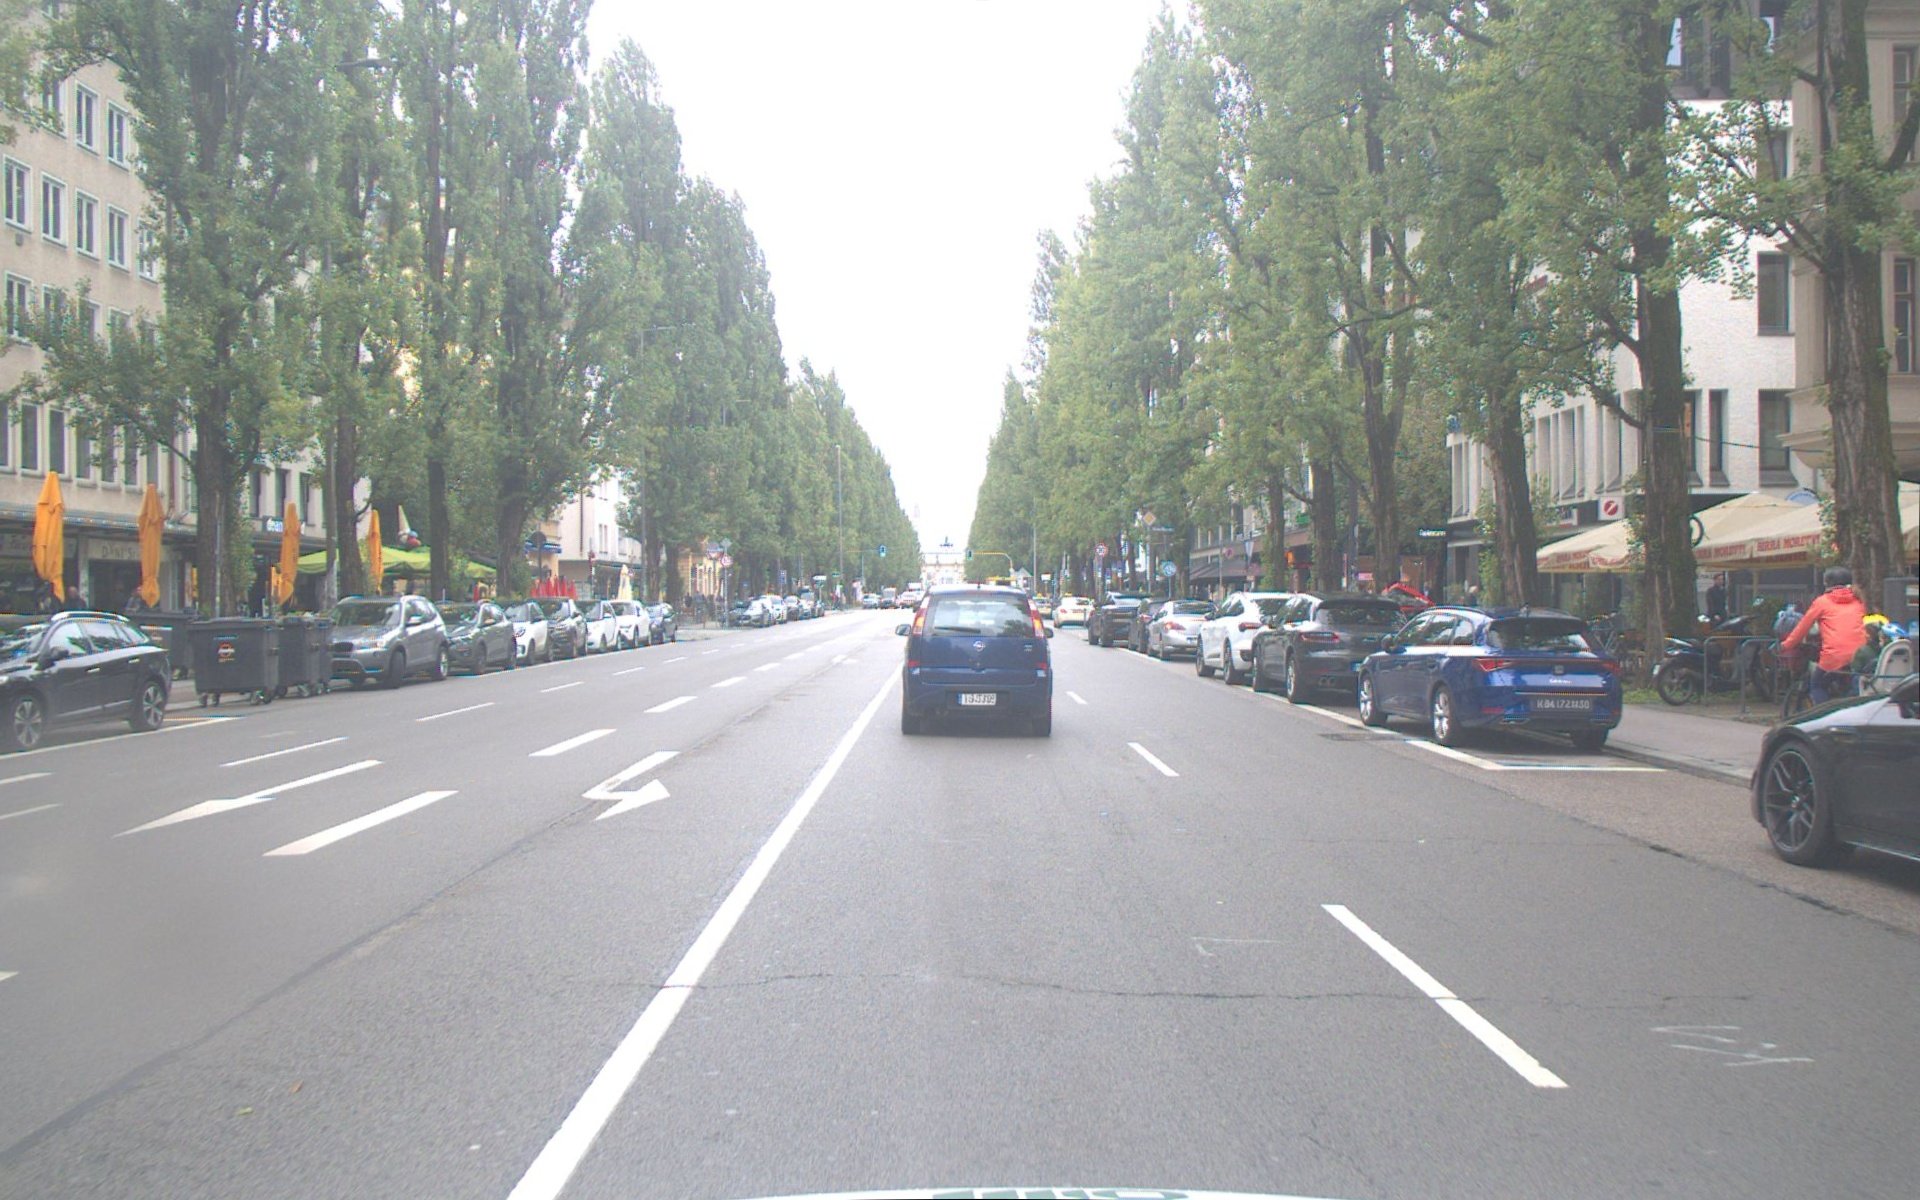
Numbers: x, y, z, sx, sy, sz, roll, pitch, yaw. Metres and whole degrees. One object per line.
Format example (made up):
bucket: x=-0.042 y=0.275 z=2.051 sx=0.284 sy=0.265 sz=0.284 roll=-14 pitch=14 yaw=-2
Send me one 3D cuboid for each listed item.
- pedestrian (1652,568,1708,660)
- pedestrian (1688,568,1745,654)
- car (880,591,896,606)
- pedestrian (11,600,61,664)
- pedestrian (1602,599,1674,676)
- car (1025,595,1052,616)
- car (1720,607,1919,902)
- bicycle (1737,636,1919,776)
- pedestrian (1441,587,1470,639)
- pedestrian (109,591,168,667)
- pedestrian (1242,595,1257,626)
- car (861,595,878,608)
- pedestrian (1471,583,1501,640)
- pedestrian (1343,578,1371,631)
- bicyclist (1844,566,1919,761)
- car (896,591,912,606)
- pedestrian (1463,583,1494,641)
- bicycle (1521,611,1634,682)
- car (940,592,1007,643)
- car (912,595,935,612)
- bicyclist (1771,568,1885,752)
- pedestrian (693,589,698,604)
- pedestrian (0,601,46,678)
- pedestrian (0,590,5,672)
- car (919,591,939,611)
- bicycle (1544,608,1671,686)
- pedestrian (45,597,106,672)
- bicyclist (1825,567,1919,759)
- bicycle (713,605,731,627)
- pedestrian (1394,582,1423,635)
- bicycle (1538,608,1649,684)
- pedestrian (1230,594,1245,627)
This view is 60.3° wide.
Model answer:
pedestrian: x=14.614 y=0.280 z=33.604 sx=0.714 sy=1.834 sz=0.931 roll=-1 pitch=0 yaw=0
pedestrian: x=15.363 y=0.219 z=33.591 sx=0.714 sy=1.706 sz=0.931 roll=-1 pitch=0 yaw=0
car: x=-8.629 y=-0.150 z=199.075 sx=1.798 sy=1.769 sz=3.778 roll=-1 pitch=0 yaw=-1
pedestrian: x=-19.923 y=0.683 z=35.679 sx=0.612 sy=1.348 sz=0.827 roll=-1 pitch=0 yaw=0
pedestrian: x=11.654 y=0.640 z=28.455 sx=0.909 sy=1.289 sz=0.731 roll=-1 pitch=0 yaw=-2
car: x=5.321 y=0.363 z=112.246 sx=1.635 sy=1.376 sz=4.104 roll=-1 pitch=0 yaw=0
car: x=5.760 y=0.783 z=8.005 sx=1.840 sy=1.457 sz=4.803 roll=-1 pitch=0 yaw=-2
bicycle: x=7.874 y=0.909 z=14.919 sx=0.614 sy=1.106 sz=2.263 roll=-1 pitch=0 yaw=-1
pedestrian: x=16.145 y=0.419 z=53.913 sx=0.720 sy=1.655 sz=0.766 roll=1 pitch=0 yaw=1
pedestrian: x=-19.517 y=0.680 z=39.314 sx=0.834 sy=1.775 sz=1.148 roll=0 pitch=0 yaw=0
pedestrian: x=14.561 y=0.544 z=83.150 sx=0.627 sy=1.553 sz=0.484 roll=-1 pitch=0 yaw=-1
car: x=-11.216 y=0.221 z=205.667 sx=1.922 sy=1.576 sz=3.778 roll=-1 pitch=0 yaw=-1
pedestrian: x=15.518 y=0.326 z=48.814 sx=0.640 sy=1.655 sz=0.704 roll=-1 pitch=0 yaw=-3
pedestrian: x=13.923 y=0.143 z=58.032 sx=0.776 sy=1.843 sz=0.682 roll=-1 pitch=0 yaw=-3
bicyclist: x=7.888 y=0.529 z=13.982 sx=0.609 sy=1.616 sz=0.391 roll=-1 pitch=0 yaw=-1
car: x=-6.477 y=-0.144 z=191.549 sx=1.798 sy=1.706 sz=3.778 roll=-1 pitch=0 yaw=-1
pedestrian: x=14.928 y=0.340 z=47.608 sx=0.640 sy=1.655 sz=0.704 roll=-1 pitch=0 yaw=-3
bicycle: x=10.282 y=0.767 z=27.550 sx=1.794 sy=1.159 sz=0.370 roll=-1 pitch=0 yaw=-7
car: x=0.387 y=0.518 z=51.818 sx=1.953 sy=1.523 sz=3.999 roll=-1 pitch=0 yaw=-1
car: x=-3.210 y=0.316 z=145.380 sx=1.922 sy=1.424 sz=3.778 roll=-1 pitch=0 yaw=-1
bicyclist: x=7.866 y=0.532 z=15.010 sx=0.609 sy=1.616 sz=0.753 roll=-1 pitch=0 yaw=-1
pedestrian: x=-19.236 y=-0.232 z=120.187 sx=0.283 sy=1.109 sz=0.258 roll=-1 pitch=0 yaw=5
pedestrian: x=-22.149 y=0.920 z=38.757 sx=0.834 sy=1.775 sz=1.148 roll=0 pitch=0 yaw=0
pedestrian: x=-20.780 y=0.668 z=35.011 sx=0.612 sy=1.752 sz=0.827 roll=-1 pitch=0 yaw=0
car: x=-2.878 y=0.088 z=154.579 sx=1.798 sy=1.792 sz=3.778 roll=-1 pitch=0 yaw=-1
bicycle: x=10.396 y=0.749 z=26.584 sx=1.833 sy=1.213 sz=0.575 roll=-1 pitch=0 yaw=-5
pedestrian: x=-21.310 y=0.808 z=39.857 sx=0.834 sy=1.775 sz=1.148 roll=0 pitch=0 yaw=0
bicyclist: x=7.885 y=0.530 z=14.228 sx=0.609 sy=1.616 sz=0.481 roll=-1 pitch=0 yaw=-1
bicycle: x=-11.518 y=0.762 z=80.200 sx=0.652 sy=1.023 sz=2.460 roll=-1 pitch=0 yaw=-4
pedestrian: x=15.101 y=0.285 z=55.713 sx=0.712 sy=1.781 sz=0.859 roll=1 pitch=0 yaw=0
bicycle: x=10.374 y=0.750 z=27.106 sx=1.677 sy=1.213 sz=0.420 roll=-1 pitch=0 yaw=-5
pedestrian: x=13.354 y=0.511 z=79.578 sx=0.627 sy=1.553 sz=0.484 roll=-1 pitch=0 yaw=-1
